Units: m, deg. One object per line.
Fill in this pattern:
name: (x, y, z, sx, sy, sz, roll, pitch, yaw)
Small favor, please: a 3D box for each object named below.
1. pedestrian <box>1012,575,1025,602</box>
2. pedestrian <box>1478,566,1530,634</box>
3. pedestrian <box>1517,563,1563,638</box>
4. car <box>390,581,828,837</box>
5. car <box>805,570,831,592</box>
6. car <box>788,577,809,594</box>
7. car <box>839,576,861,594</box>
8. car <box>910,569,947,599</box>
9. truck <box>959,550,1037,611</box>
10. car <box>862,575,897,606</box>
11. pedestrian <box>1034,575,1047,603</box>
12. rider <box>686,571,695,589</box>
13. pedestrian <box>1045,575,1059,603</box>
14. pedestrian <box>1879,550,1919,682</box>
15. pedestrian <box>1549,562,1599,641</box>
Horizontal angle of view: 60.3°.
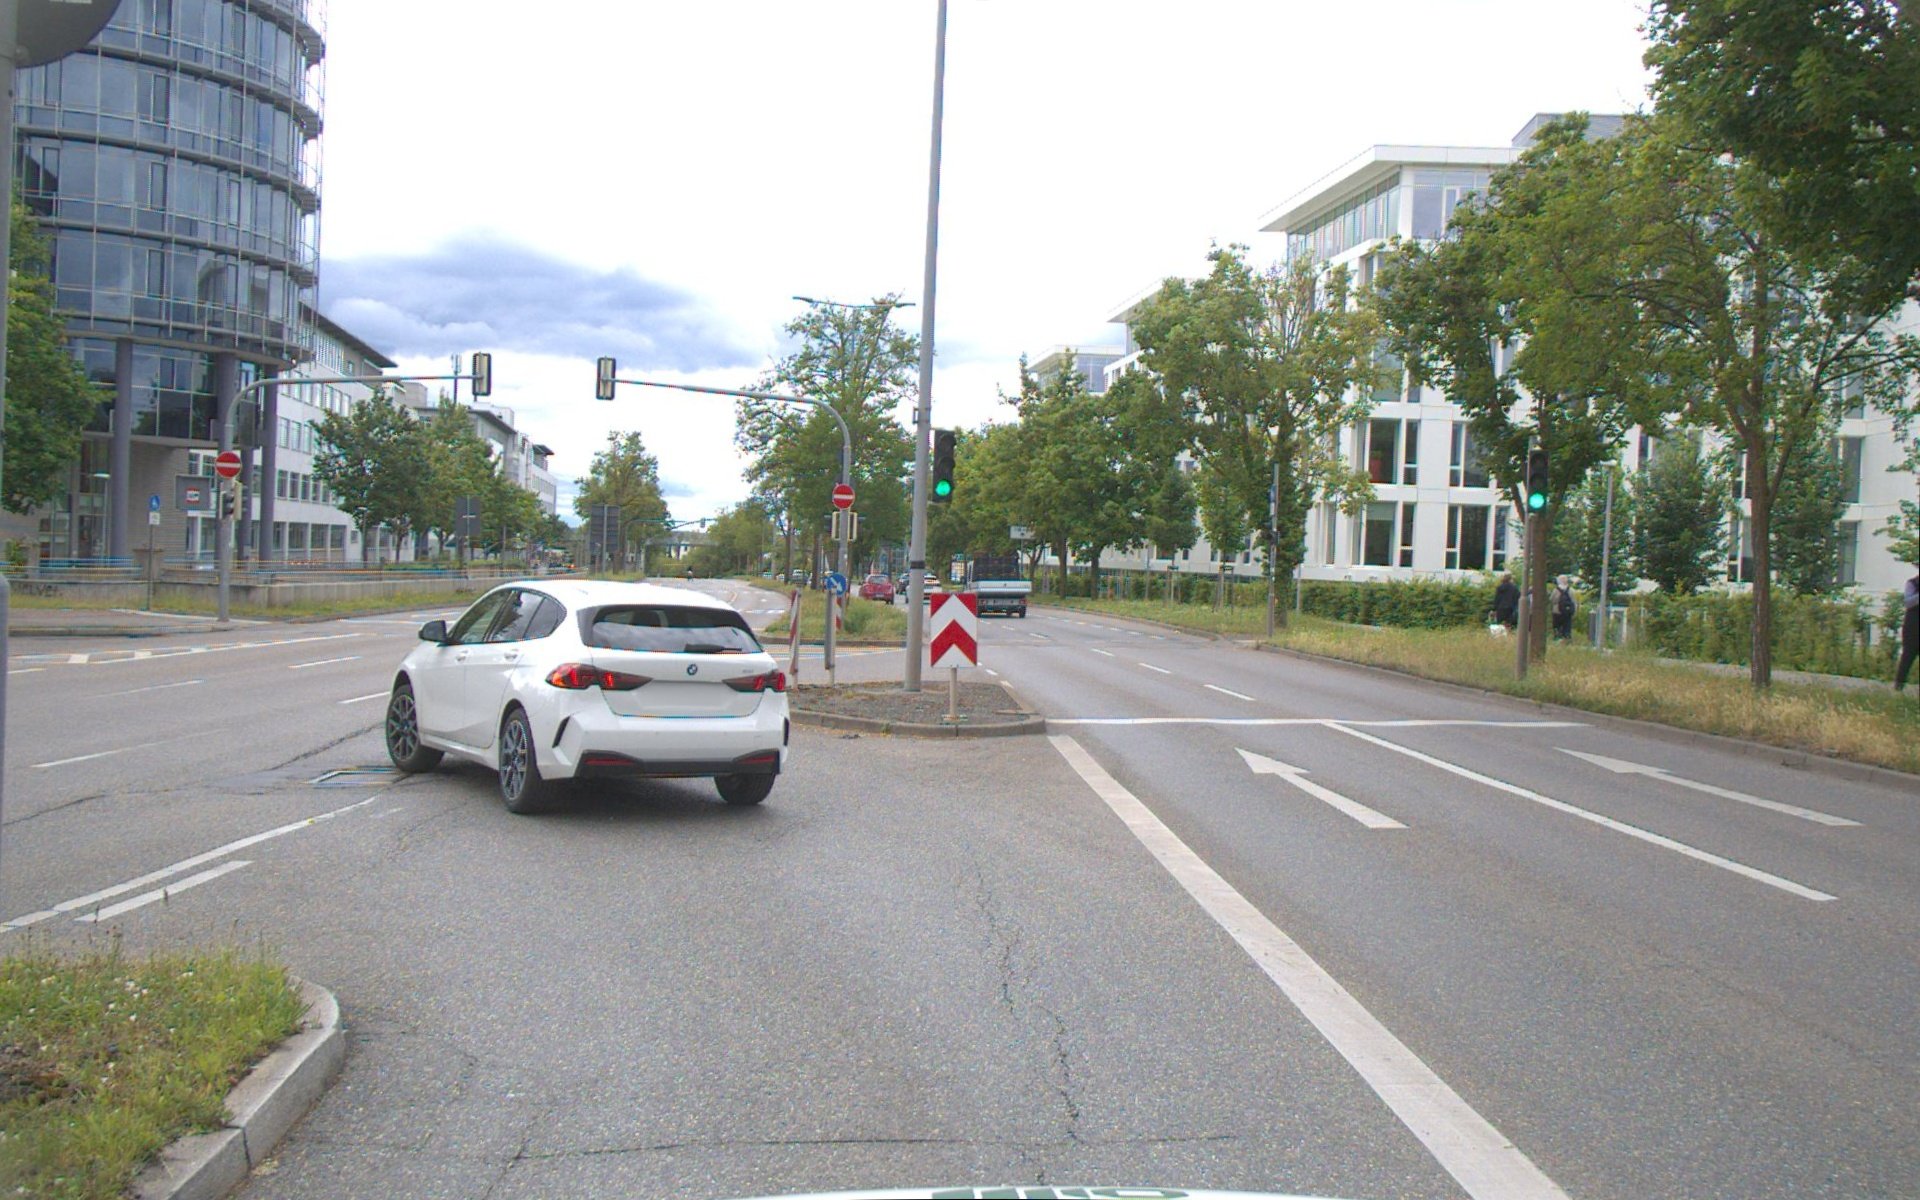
pedestrian: (4.520, -0.889, 128.210, 0.749, 2.049, 0.751, 1, 0, -15)
pedestrian: (12.146, -0.007, 36.937, 0.773, 1.473, 1.112, 1, 0, -1)
pedestrian: (12.924, 0.011, 36.849, 0.685, 1.623, 0.883, 1, 0, -1)
car: (-2.674, 0.640, 11.865, 1.805, 1.463, 3.956, 2, 0, -32)
car: (-11.201, -1.502, 130.493, 1.820, 1.624, 4.305, 1, 0, -8)
car: (-16.213, -1.500, 165.651, 1.856, 1.623, 4.305, 2, 0, -8)
car: (-10.505, -1.451, 157.471, 1.819, 1.624, 4.307, 1, 0, -7)
car: (-1.726, -0.857, 89.530, 1.682, 1.583, 4.086, 1, 0, -5)
truck: (1.455, -0.767, 65.389, 2.170, 2.242, 5.834, 1, 0, -8)
car: (-4.240, -0.498, 86.811, 1.683, 1.585, 3.854, 0, 0, -5)
pedestrian: (6.174, -0.842, 126.835, 0.749, 2.049, 0.751, 1, 0, -15)
rider: (-28.559, -2.122, 175.431, 0.829, 1.802, 0.807, 1, 0, -3)
pedestrian: (6.832, -0.824, 122.518, 0.834, 2.049, 0.603, 1, 0, -15)
pedestrian: (11.920, 0.205, 20.449, 0.726, 1.601, 0.674, 1, 0, -1)
pedestrian: (13.680, 0.027, 36.883, 0.751, 1.714, 0.883, 1, 0, -1)
